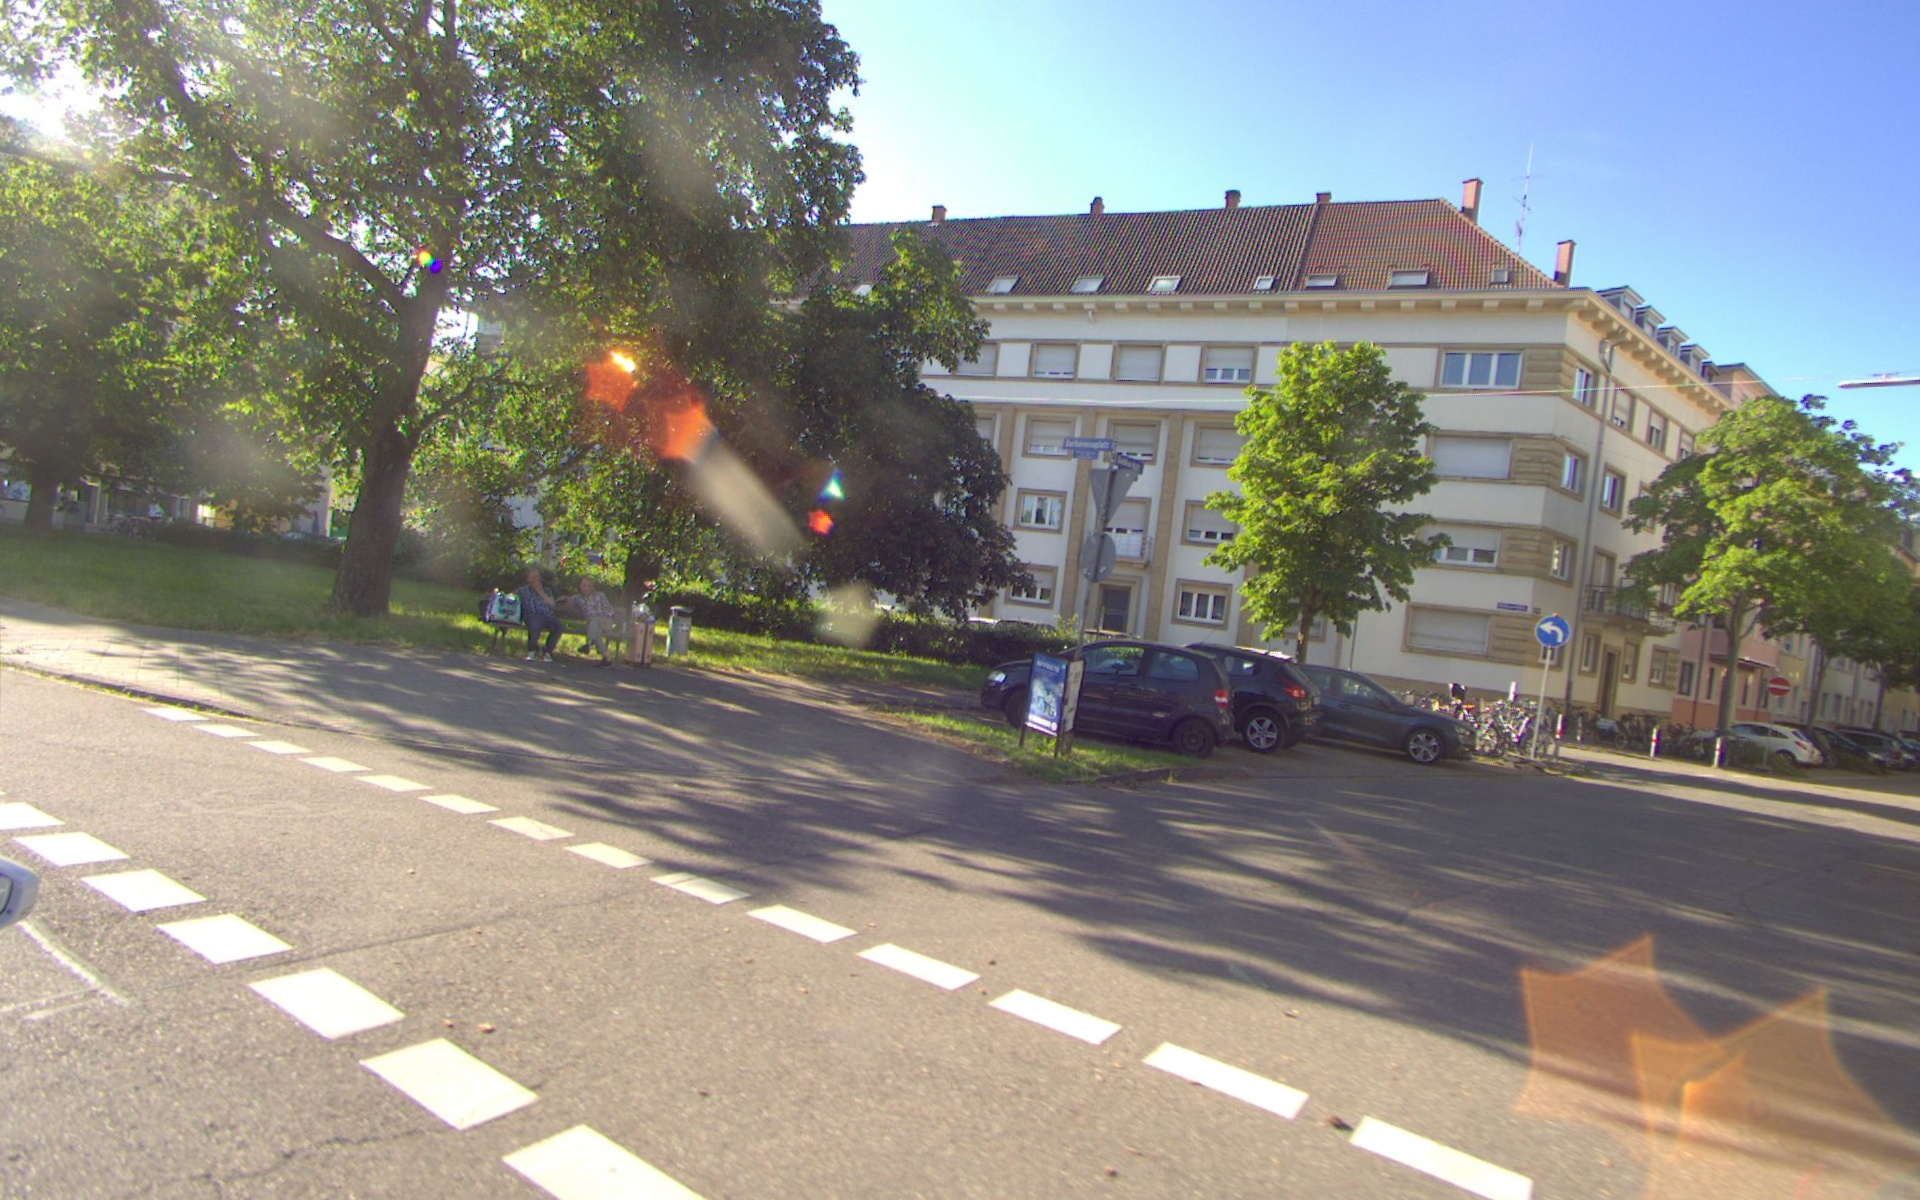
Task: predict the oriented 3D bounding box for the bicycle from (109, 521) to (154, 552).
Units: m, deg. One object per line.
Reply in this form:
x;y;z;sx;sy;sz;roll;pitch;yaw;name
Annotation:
-34.637;-2.653;42.055;1.971;1.046;0.599;6;-3;26;bicycle

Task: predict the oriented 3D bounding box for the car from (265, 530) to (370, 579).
-26.654;-1.854;41.812;1.547;1.547;3.258;6;-1;24;car

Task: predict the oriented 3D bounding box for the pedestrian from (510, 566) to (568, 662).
-5.789;0.180;13.830;0.401;1.239;0.753;9;-3;-37;pedestrian

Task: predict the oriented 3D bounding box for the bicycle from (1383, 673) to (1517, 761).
10.142;2.401;20.931;0.748;1.474;2.318;9;-3;-33;bicycle

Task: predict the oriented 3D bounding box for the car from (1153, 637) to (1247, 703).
6.356;1.784;26.410;1.548;1.389;3.350;6;2;27;car

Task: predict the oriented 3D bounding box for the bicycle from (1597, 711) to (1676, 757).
22.689;4.481;33.771;2.034;1.201;0.595;5;-4;43;bicycle

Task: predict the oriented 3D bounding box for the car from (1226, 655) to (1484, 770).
7.255;2.004;18.754;4.163;1.458;1.640;7;0;21;car

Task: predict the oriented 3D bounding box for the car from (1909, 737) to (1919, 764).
65.925;10.262;66.722;1.985;1.724;3.961;10;-4;-37;car

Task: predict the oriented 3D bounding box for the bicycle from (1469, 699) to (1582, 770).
12.194;2.869;21.786;0.546;1.231;2.332;8;-3;-15;bicycle

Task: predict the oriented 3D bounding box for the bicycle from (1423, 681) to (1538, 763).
11.031;2.558;21.418;0.552;1.474;2.330;8;-3;-17;bicycle

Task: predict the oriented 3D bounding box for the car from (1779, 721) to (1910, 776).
39.216;6.560;44.670;1.985;1.724;3.961;10;-4;-37;car

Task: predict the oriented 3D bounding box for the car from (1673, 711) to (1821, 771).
29.409;5.254;37.675;1.804;1.569;3.961;10;-4;-37;car

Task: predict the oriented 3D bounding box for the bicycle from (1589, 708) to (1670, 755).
21.660;4.259;32.581;2.034;1.201;0.595;5;-4;43;bicycle

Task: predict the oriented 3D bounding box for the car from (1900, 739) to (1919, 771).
59.175;9.542;60.192;1.985;1.724;3.961;10;-4;-37;car

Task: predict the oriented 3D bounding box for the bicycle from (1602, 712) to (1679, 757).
23.152;4.567;34.250;2.034;1.201;0.595;5;-4;43;bicycle

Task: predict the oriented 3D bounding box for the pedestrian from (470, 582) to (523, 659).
-6.276;0.270;13.614;0.401;0.945;0.616;9;-1;-37;pedestrian

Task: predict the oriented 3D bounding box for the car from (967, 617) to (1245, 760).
2.178;1.242;14.888;3.736;1.513;1.641;7;0;15;car

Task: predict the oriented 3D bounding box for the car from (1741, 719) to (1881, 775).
34.735;5.970;41.134;1.985;1.569;3.961;10;-4;-37;car

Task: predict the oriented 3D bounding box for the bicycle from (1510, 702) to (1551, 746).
17.281;3.741;30.516;0.586;1.201;2.065;7;-3;19;bicycle

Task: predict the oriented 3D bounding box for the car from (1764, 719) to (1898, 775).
37.336;6.290;43.198;1.985;1.724;3.961;10;-4;-37;car

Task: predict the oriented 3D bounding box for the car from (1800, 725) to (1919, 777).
41.440;6.917;46.221;1.985;1.724;3.961;10;-4;-37;car

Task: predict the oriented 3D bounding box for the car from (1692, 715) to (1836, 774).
31.059;5.569;38.957;1.804;1.569;3.961;10;-4;-37;car

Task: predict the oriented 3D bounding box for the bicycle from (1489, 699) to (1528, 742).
16.709;3.671;30.694;0.586;1.201;2.065;7;-3;19;bicycle

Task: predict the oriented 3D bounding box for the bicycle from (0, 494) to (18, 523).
-51.653;-5.025;53.208;0.597;1.414;2.480;7;-4;25;bicycle

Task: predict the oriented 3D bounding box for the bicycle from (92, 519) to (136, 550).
-34.875;-2.707;41.458;1.764;1.046;0.599;6;-3;26;bicycle

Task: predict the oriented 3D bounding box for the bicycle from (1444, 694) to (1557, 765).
11.578;2.758;21.672;0.552;1.240;2.331;8;-3;-16;bicycle

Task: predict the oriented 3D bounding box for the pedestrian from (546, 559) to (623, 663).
-5.454;0.155;14.604;0.682;1.388;0.748;9;-3;-37;pedestrian

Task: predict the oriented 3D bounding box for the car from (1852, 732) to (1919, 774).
49.966;8.181;53.052;1.985;1.724;3.961;10;-4;-37;car

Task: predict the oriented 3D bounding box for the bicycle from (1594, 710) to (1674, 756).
22.221;4.378;33.194;2.034;1.201;0.595;5;-4;43;bicycle

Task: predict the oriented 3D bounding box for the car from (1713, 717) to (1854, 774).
32.763;5.756;40.096;1.804;1.569;3.961;10;-4;-37;car

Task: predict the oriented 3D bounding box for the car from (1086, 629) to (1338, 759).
4.220;1.521;17.006;3.744;1.592;1.454;6;0;30;car

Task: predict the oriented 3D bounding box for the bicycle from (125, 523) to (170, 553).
-34.530;-2.626;42.740;1.955;1.046;0.599;6;-3;26;bicycle
